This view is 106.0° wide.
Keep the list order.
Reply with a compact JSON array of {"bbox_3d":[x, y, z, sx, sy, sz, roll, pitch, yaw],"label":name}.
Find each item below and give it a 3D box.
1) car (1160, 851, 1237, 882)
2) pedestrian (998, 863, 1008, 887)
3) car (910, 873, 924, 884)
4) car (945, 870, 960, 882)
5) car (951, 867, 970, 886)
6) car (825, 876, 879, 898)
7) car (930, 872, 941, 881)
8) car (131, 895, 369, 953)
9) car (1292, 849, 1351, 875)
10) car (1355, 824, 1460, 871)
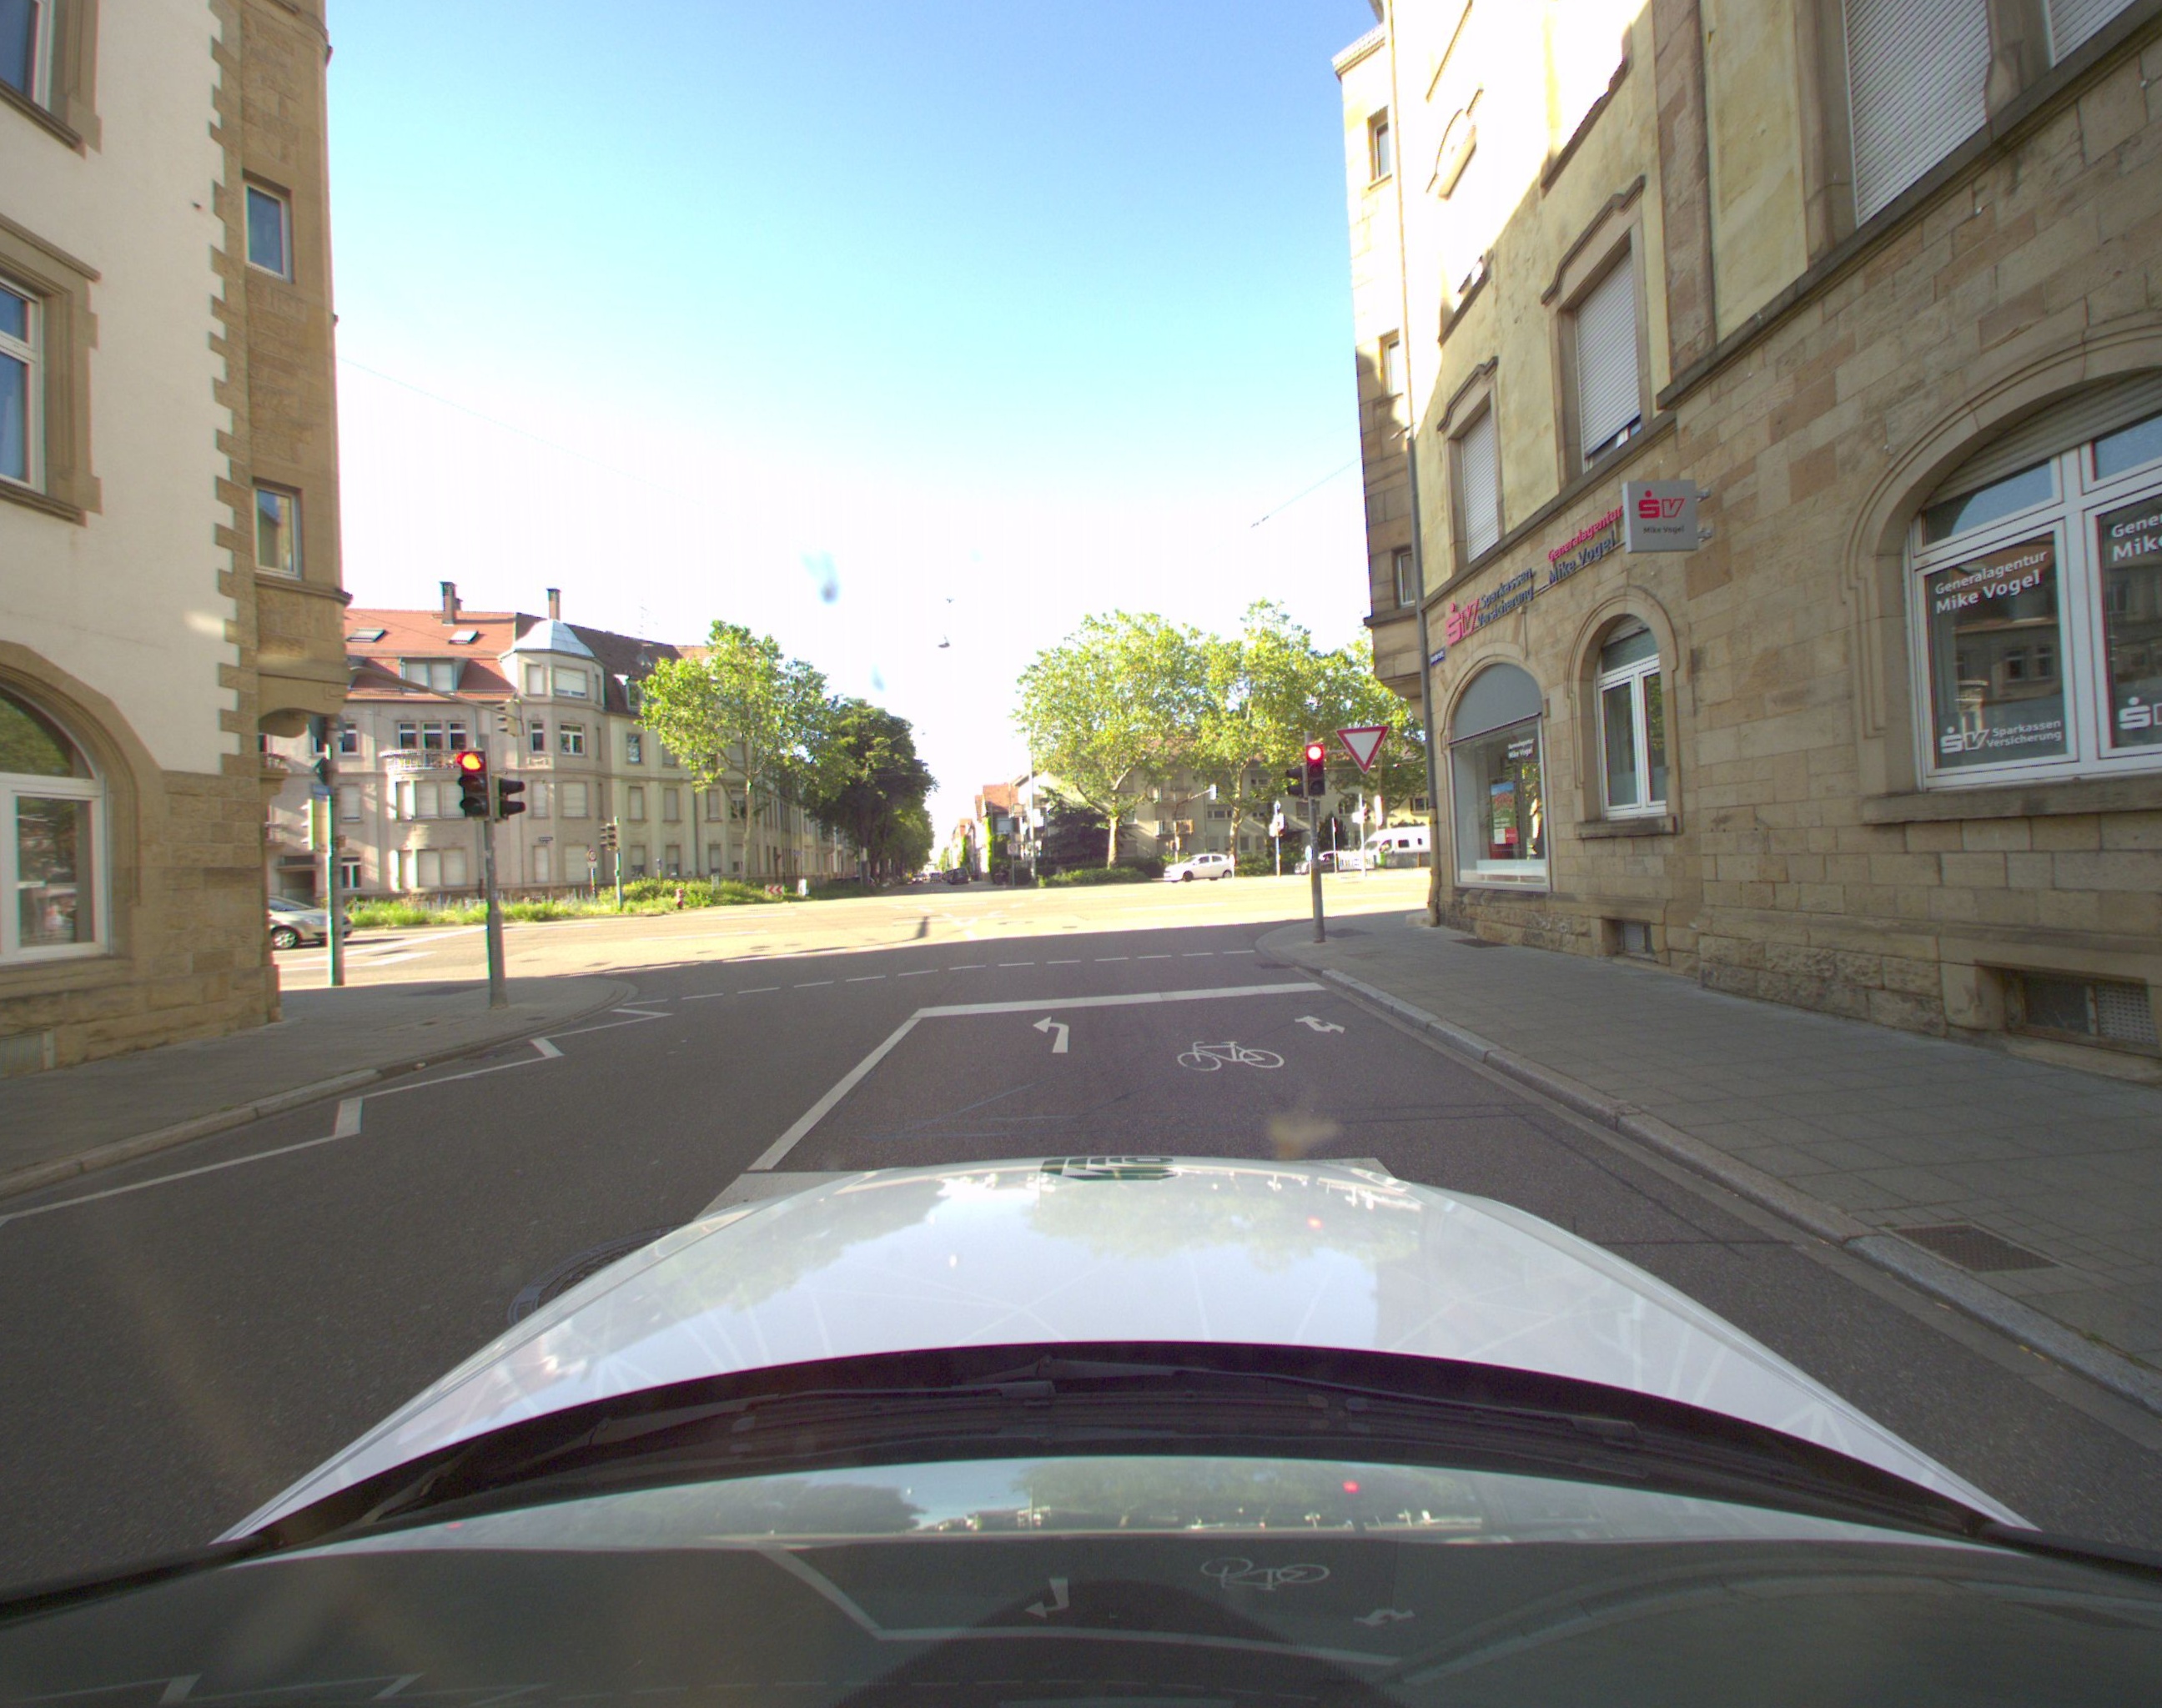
[{"bbox_3d":[6.341,0.669,43.963,3.800,1.472,1.619,-3,0,-20],"label":"car"},{"bbox_3d":[-5.784,1.565,60.370,0.631,1.750,0.658,-2,-1,-2],"label":"pedestrian"},{"bbox_3d":[-25.760,3.819,127.682,1.995,1.445,3.983,-3,0,-12],"label":"car"},{"bbox_3d":[-19.850,3.375,125.662,1.996,1.833,3.980,-1,-1,-14],"label":"car"},{"bbox_3d":[-14.042,2.602,94.951,1.992,2.013,3.989,-3,0,-8],"label":"car"},{"bbox_3d":[-18.038,2.577,64.270,3.997,1.486,1.672,-3,0,-17],"label":"car"},{"bbox_3d":[-24.175,3.723,134.985,1.675,1.483,3.507,-3,-1,-12],"label":"car"},{"bbox_3d":[-21.765,1.800,21.538,3.995,1.319,1.812,0,-2,-16],"label":"car"},{"bbox_3d":[15.608,0.525,52.951,3.391,1.487,1.515,-3,0,-20],"label":"car"},{"bbox_3d":[20.470,-0.413,51.075,6.054,2.568,1.989,-3,0,-16],"label":"car"}]
